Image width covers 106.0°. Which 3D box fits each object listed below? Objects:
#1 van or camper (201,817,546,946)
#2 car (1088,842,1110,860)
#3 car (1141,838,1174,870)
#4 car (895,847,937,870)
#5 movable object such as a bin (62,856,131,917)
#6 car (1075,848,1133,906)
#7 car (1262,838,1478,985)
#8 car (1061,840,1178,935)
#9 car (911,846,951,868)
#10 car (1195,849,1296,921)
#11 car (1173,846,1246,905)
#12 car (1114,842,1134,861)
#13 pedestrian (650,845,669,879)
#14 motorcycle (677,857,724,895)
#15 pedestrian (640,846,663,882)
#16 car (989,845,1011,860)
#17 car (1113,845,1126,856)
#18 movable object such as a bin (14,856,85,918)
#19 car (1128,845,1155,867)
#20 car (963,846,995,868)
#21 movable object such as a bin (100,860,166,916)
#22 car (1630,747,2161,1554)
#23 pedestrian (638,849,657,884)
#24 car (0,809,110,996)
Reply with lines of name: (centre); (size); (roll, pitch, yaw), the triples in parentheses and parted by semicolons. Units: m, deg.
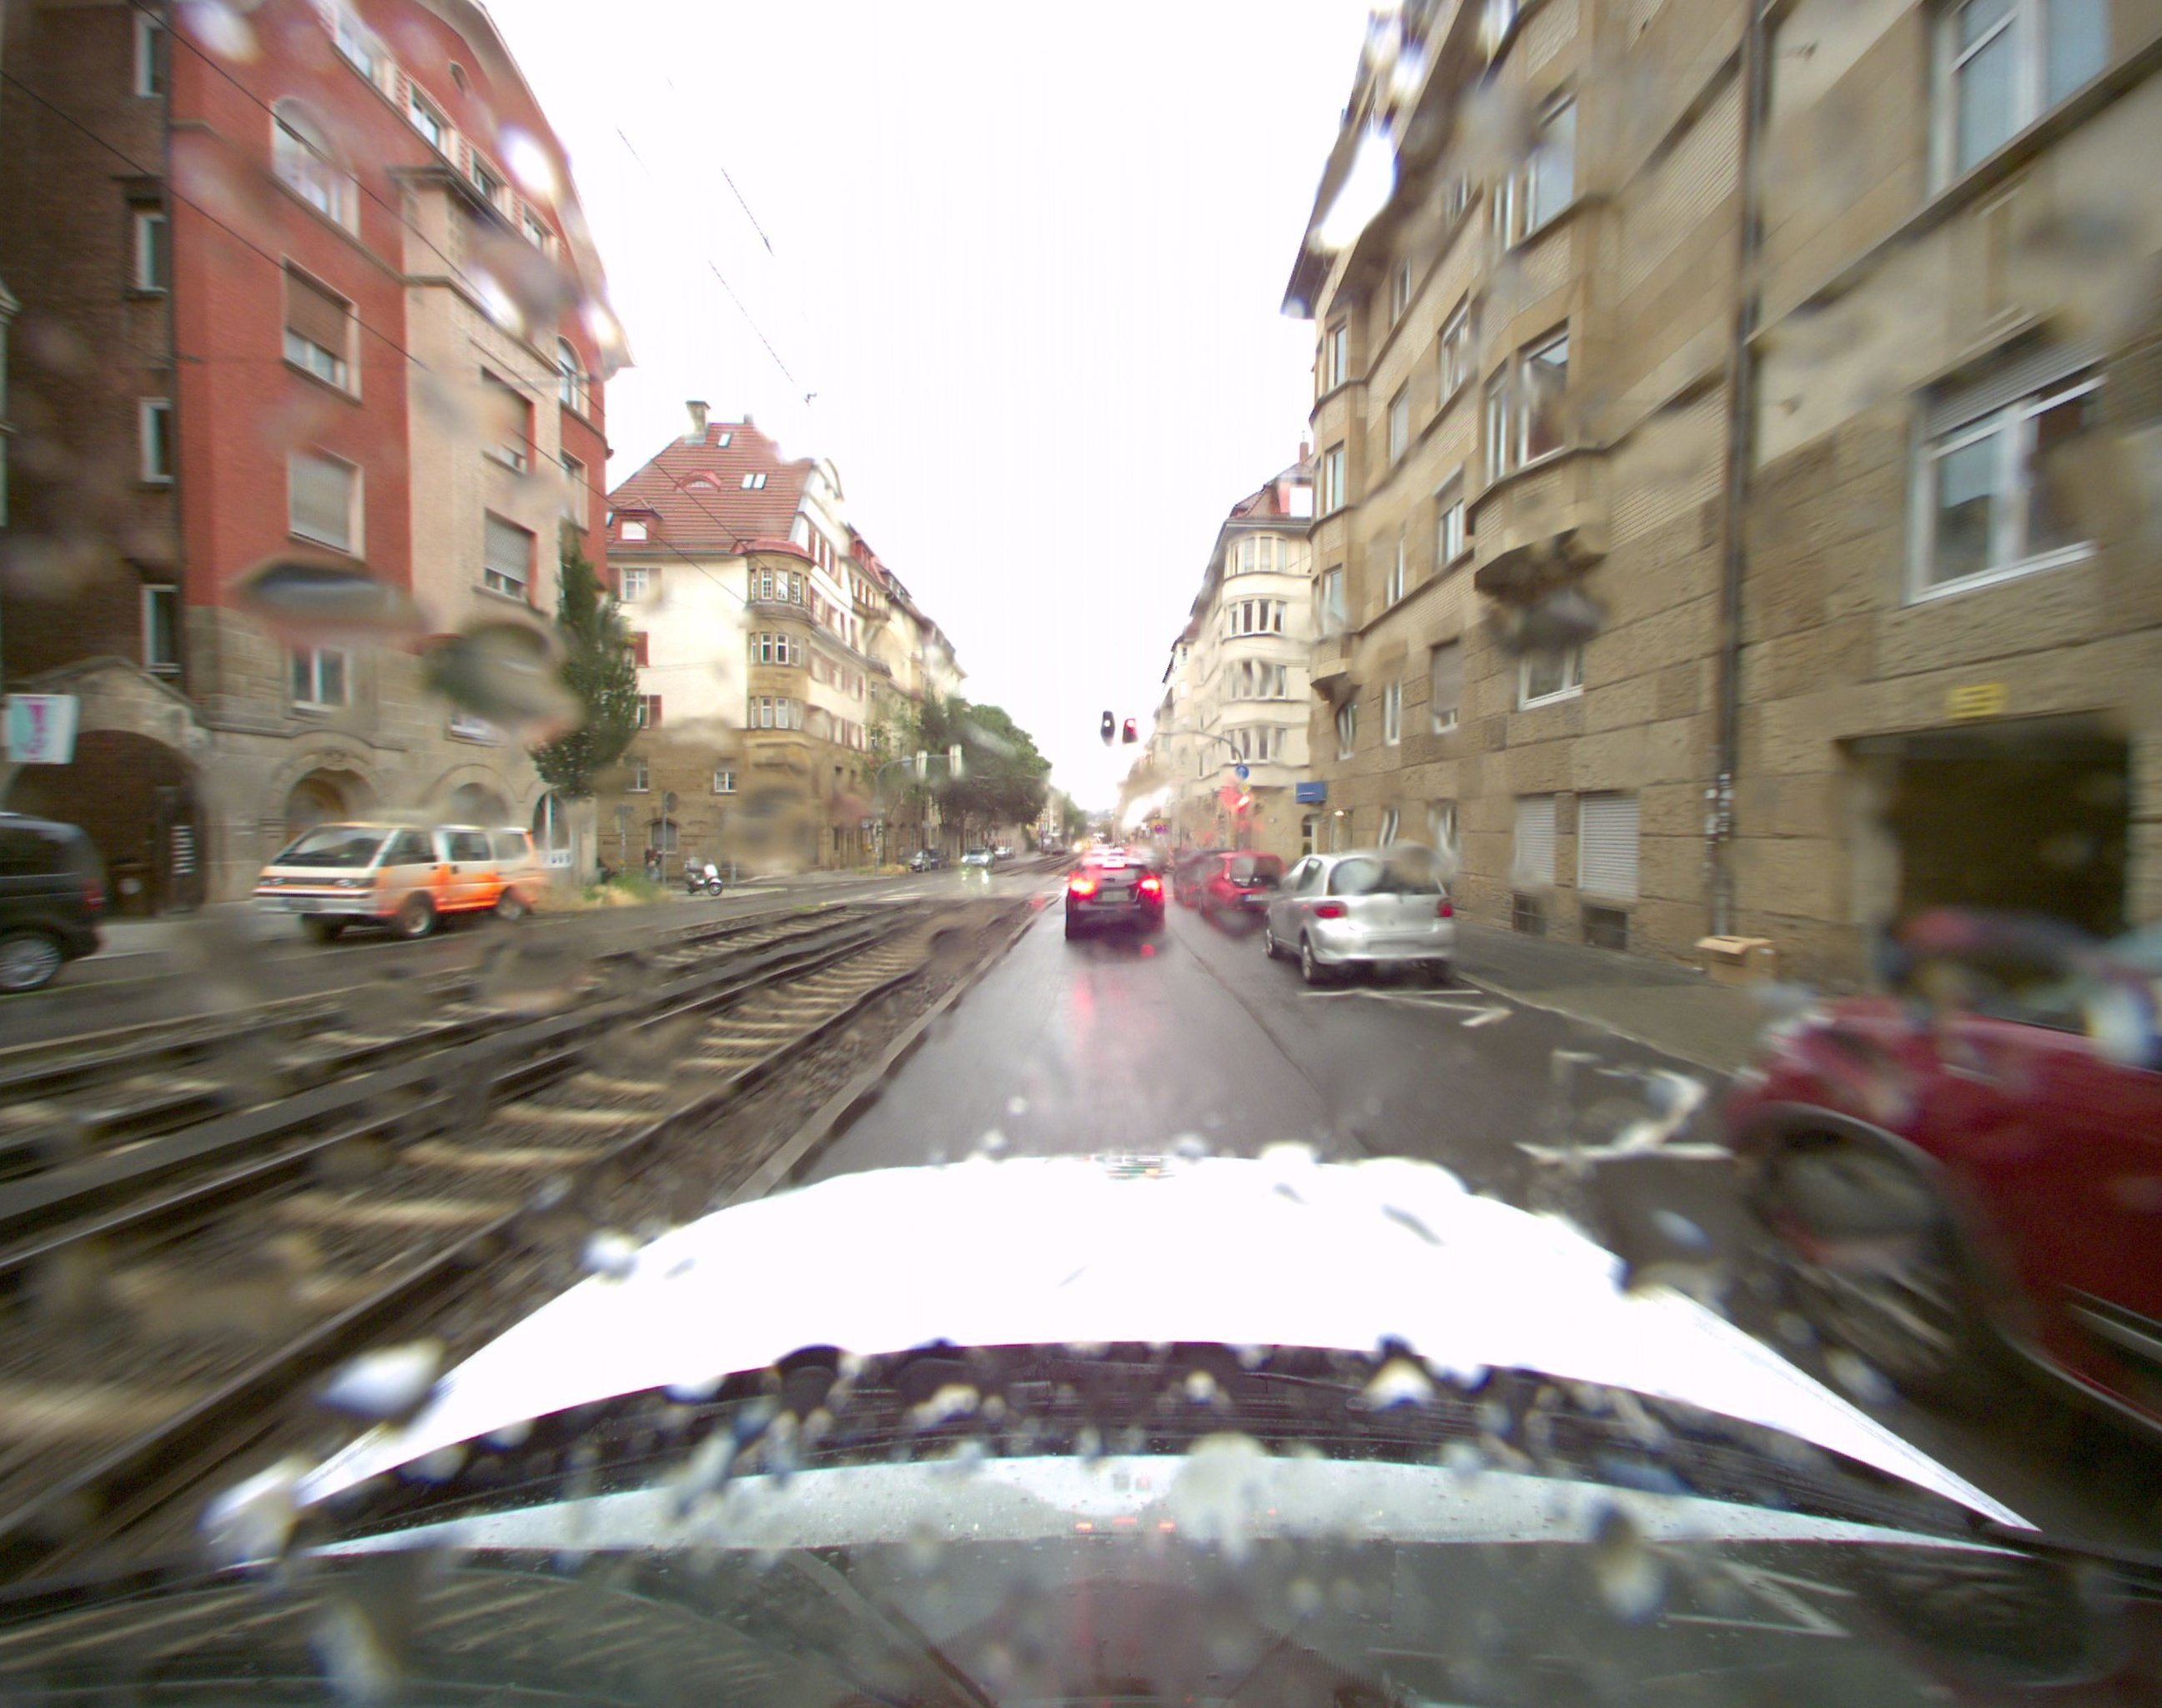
van or camper: (-12.000, 0.405, 14.391); (1.987, 1.901, 4.698); (0, 0, 0)
car: (1.723, -0.287, 79.386); (1.916, 1.655, 3.998); (0, 0, -1)
car: (5.081, 0.049, 54.471); (1.891, 2.028, 4.178); (-1, -1, 2)
car: (-10.743, 0.285, 53.345); (1.765, 1.464, 4.002); (-1, 0, 2)
movable object such as a bin: (-17.468, 0.563, 14.458); (0.572, 1.060, 0.520); (0, 0, 1)
car: (0.680, 0.595, 23.451); (1.530, 1.510, 4.002); (0, 0, 2)
car: (3.471, 0.599, 10.425); (1.631, 1.542, 3.467); (1, 0, 2)
car: (0.670, 0.569, 15.523); (1.939, 1.564, 3.642); (-1, 0, 0)
car: (-10.738, 0.209, 58.670); (1.986, 1.517, 4.002); (0, 0, 2)
car: (3.487, 0.616, 17.762); (1.597, 1.419, 3.148); (0, 0, 0)
car: (3.553, 0.540, 23.057); (1.543, 1.508, 4.002); (1, 0, 2)
car: (4.118, -0.231, 78.332); (1.846, 1.797, 3.813); (-1, -1, 2)
pedestrian: (-21.536, 0.401, 41.573); (0.605, 1.733, 0.643); (0, 0, 2)
motorcycle: (-11.727, 0.657, 25.087); (1.423, 1.134, 0.624); (0, 0, 31)
pedestrian: (-20.942, 0.487, 39.736); (0.605, 1.733, 0.865); (0, 0, 2)
car: (-9.599, -0.204, 96.870); (1.986, 1.794, 4.002); (0, 0, 2)
car: (6.016, -0.583, 128.016); (1.902, 1.706, 4.002); (0, 0, 2)
movable object such as a bin: (-18.134, 0.565, 14.328); (0.572, 1.060, 0.520); (0, 0, 1)
car: (4.886, 0.189, 66.629); (1.764, 1.776, 3.996); (-1, -1, -2)
car: (-7.589, 0.191, 60.931); (1.789, 1.548, 4.002); (-1, 0, 2)
movable object such as a bin: (-16.872, 0.594, 14.503); (0.572, 0.955, 0.520); (0, 0, 1)
car: (3.041, 0.606, 1.231); (1.705, 1.628, 3.999); (0, 0, -1)
pedestrian: (-21.729, 0.604, 40.845); (0.605, 1.733, 0.643); (0, 0, 2)
car: (-12.075, 0.519, 6.860); (1.985, 1.901, 4.703); (-1, 0, 3)
